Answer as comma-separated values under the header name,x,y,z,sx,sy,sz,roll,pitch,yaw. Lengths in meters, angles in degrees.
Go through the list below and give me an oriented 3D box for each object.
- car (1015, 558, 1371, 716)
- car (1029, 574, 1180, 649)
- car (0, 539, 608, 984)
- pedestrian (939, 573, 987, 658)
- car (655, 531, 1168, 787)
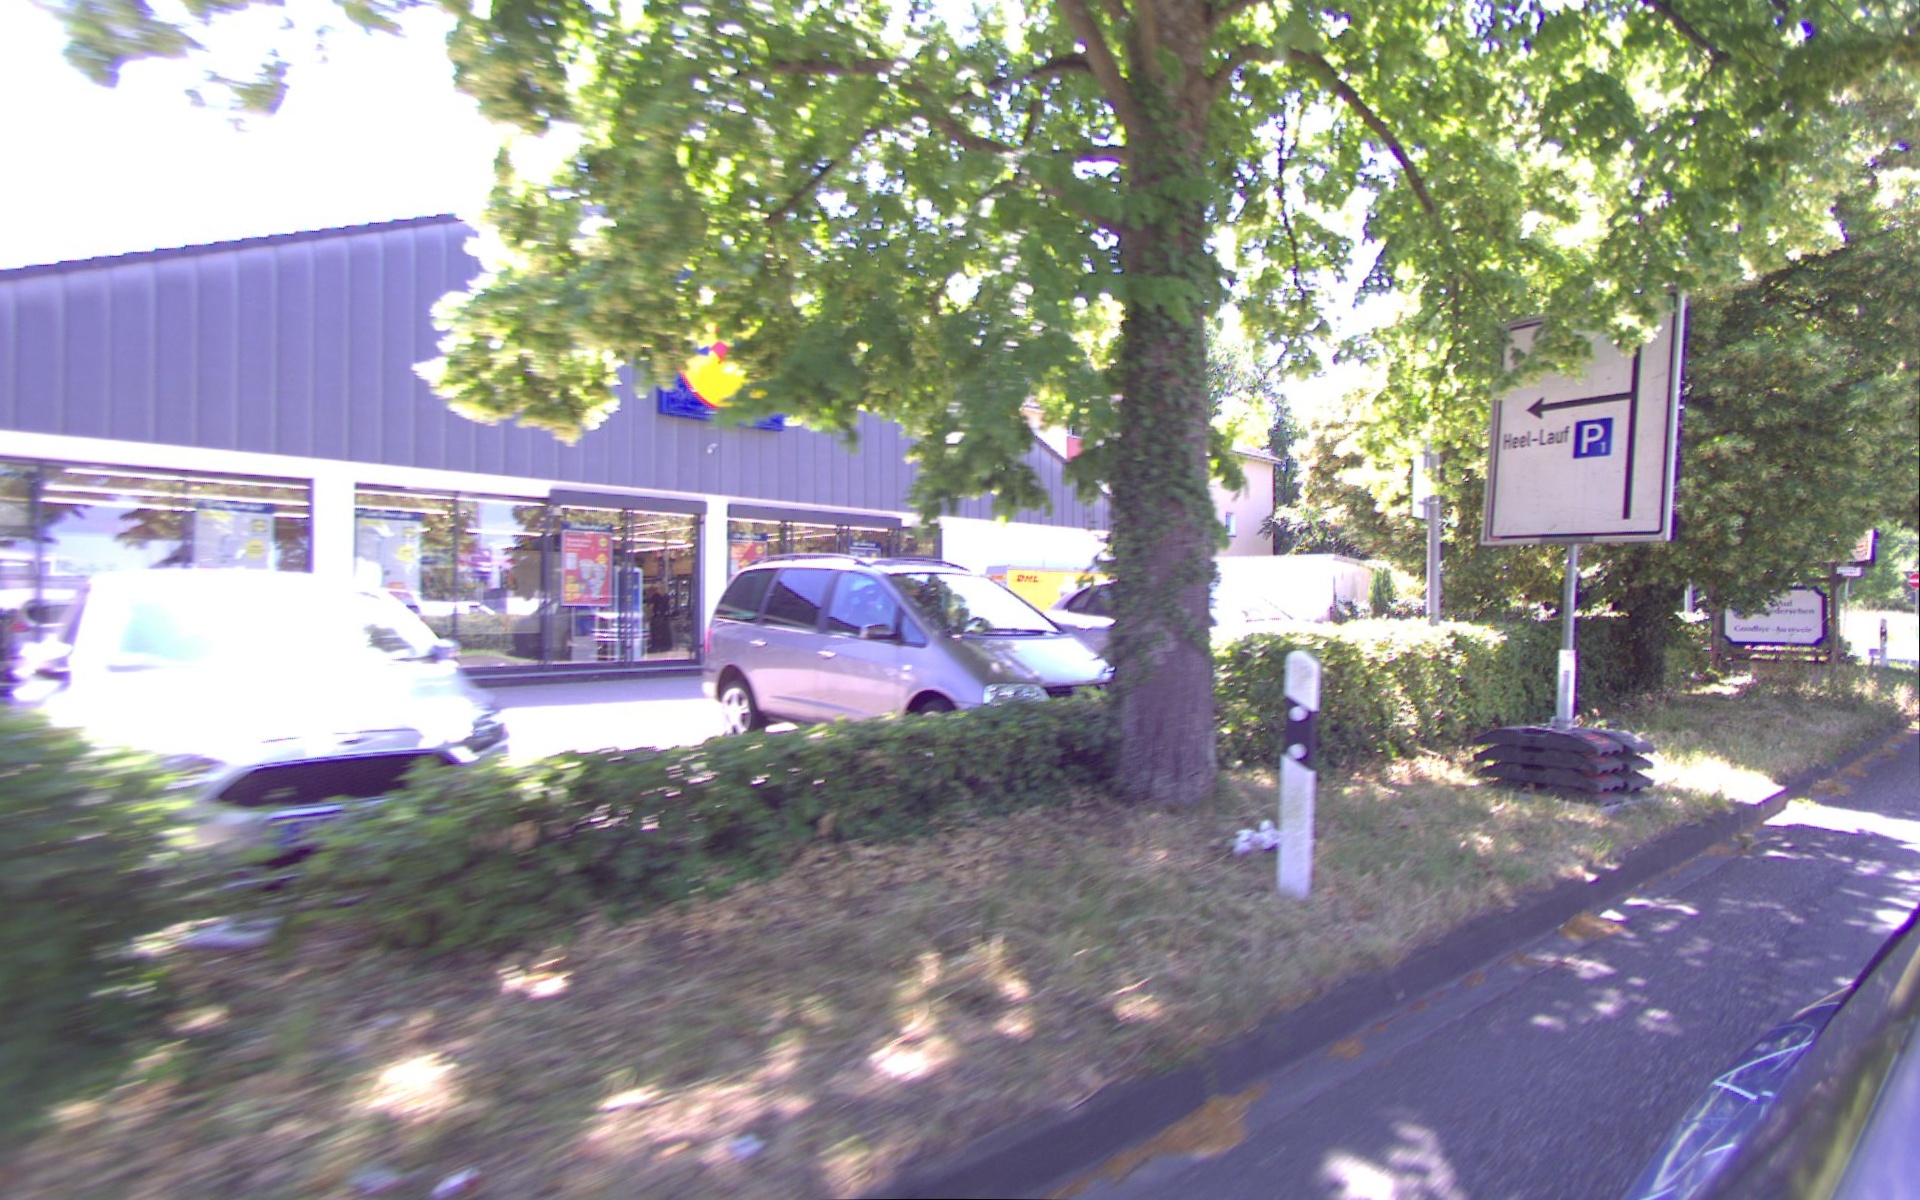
name,x,y,z,sx,sy,sz,roll,pitch,yaw
car,2.806,0.385,12.788,1.967,1.660,3.990,0,0,-44
car,4.166,0.306,29.552,1.968,2.039,3.988,0,0,-45
car,-3.789,0.530,5.442,4.230,1.429,1.922,0,-1,44
pedestrian,0.053,0.322,21.425,0.686,1.763,0.762,0,0,-40
car,-0.715,0.414,9.163,1.967,1.698,4.851,1,-1,-44
